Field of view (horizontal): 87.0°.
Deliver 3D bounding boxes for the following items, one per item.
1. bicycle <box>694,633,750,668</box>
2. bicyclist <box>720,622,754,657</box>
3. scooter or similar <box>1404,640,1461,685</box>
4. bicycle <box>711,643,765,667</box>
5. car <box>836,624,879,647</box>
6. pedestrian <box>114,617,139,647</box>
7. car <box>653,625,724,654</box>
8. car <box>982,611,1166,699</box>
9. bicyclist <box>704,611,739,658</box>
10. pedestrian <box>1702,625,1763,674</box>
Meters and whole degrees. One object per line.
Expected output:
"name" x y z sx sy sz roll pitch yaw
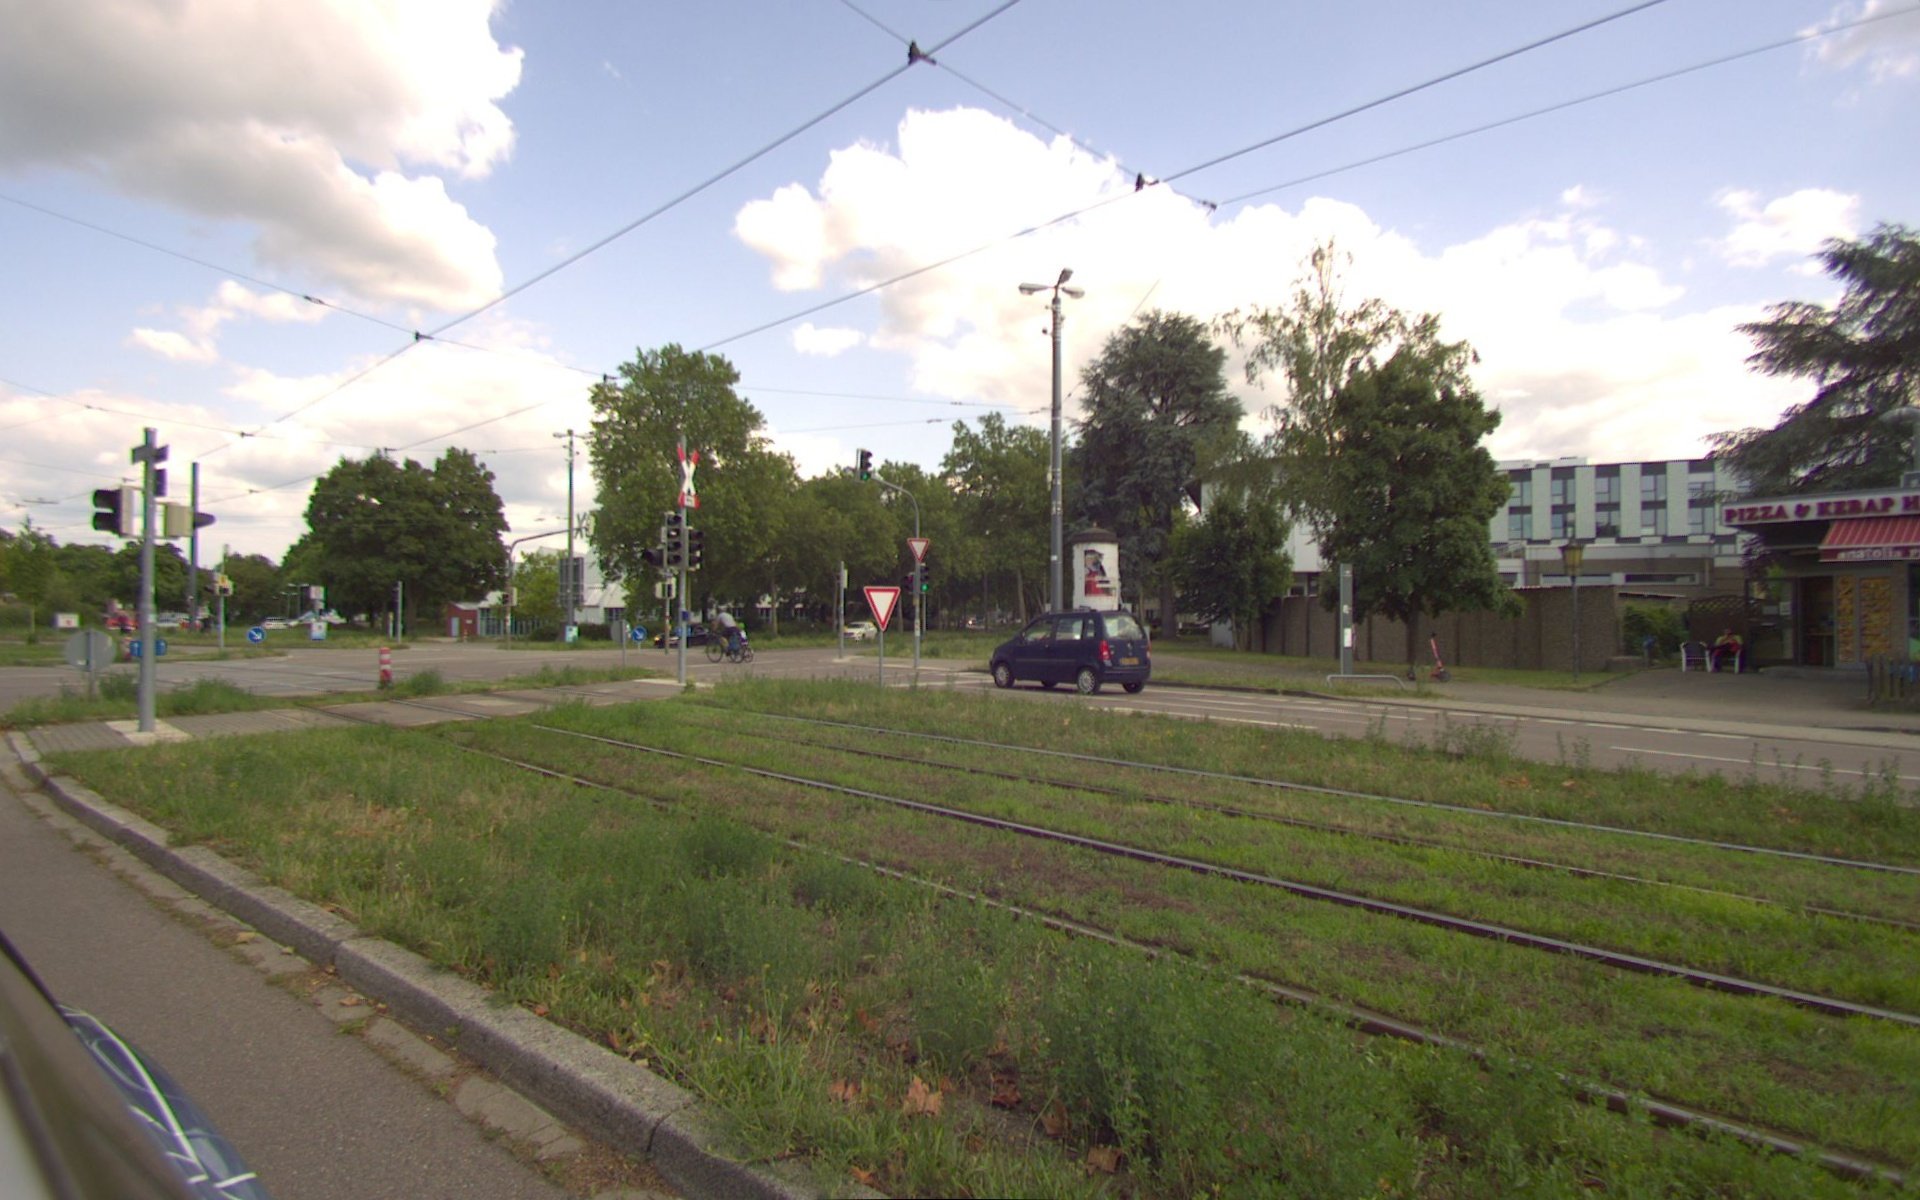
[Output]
"bicycle" -7.611 1.592 32.332 1.799 1.088 0.641 -1 -2 32
"bicyclist" -7.265 1.294 32.991 0.926 1.121 0.634 -1 -2 33
"scooter or similar" 11.475 1.507 24.621 0.420 1.041 1.226 1 -2 -30
"bicycle" -7.239 1.777 32.954 1.800 0.723 0.640 -1 -2 34
"car" -7.276 2.520 72.161 1.685 1.535 3.887 0 -1 18
"pedestrian" -52.852 2.033 64.184 0.997 1.882 0.900 -1 -2 27
"car" -14.978 2.172 56.023 1.691 1.535 3.820 0 -1 28
"car" 2.272 1.054 20.801 1.756 1.639 3.501 1 -1 -41
"bicyclist" -7.628 1.085 32.333 0.925 1.468 0.618 -1 -2 32
"pedestrian" 18.758 1.183 24.570 1.138 1.155 0.933 1 -2 -39
